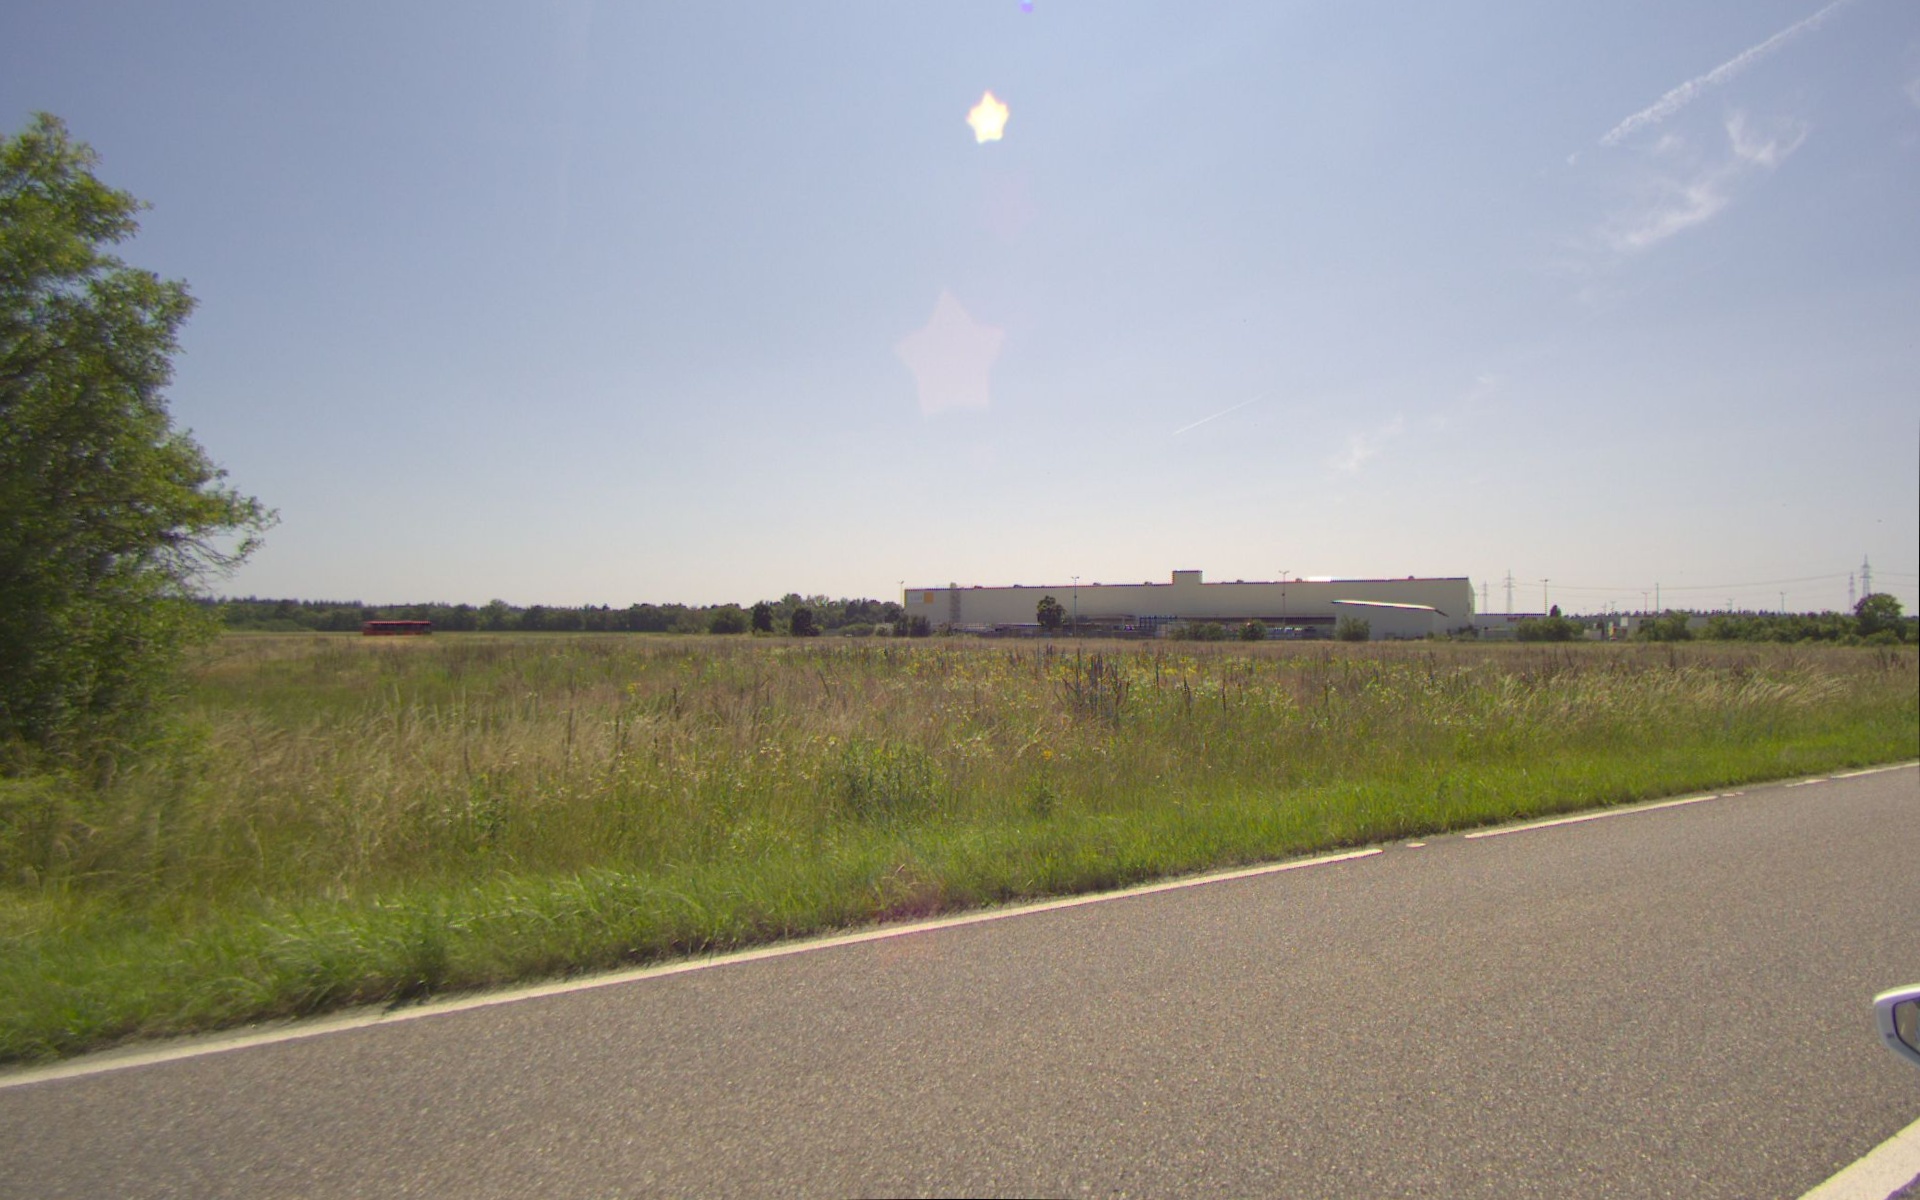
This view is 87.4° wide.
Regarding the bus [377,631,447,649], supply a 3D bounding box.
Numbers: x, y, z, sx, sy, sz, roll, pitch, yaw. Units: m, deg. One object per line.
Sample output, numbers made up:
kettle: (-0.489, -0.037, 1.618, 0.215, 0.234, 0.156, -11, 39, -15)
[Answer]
bus: (-103.316, 7.452, 189.671, 3.252, 3.352, 11.977, -1, -2, 27)
